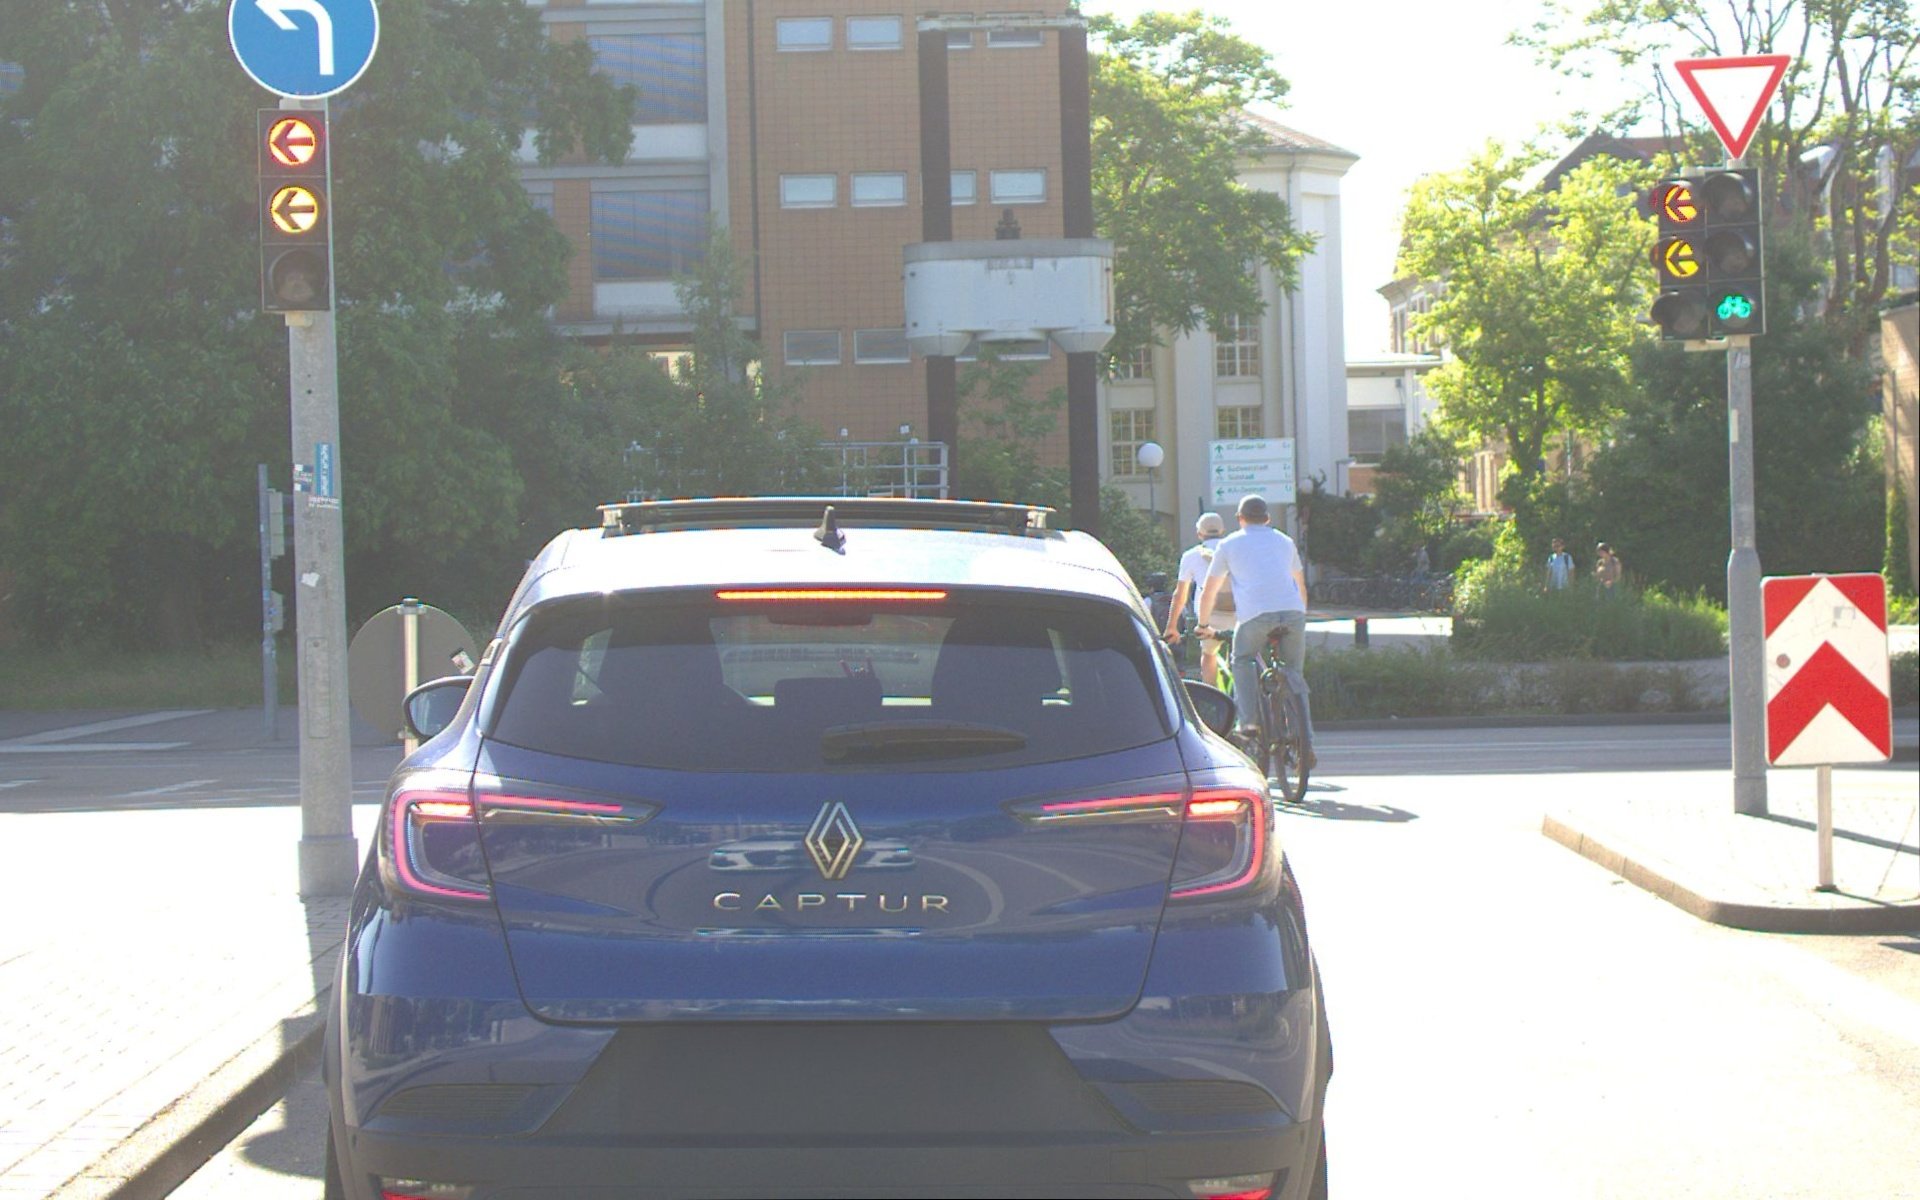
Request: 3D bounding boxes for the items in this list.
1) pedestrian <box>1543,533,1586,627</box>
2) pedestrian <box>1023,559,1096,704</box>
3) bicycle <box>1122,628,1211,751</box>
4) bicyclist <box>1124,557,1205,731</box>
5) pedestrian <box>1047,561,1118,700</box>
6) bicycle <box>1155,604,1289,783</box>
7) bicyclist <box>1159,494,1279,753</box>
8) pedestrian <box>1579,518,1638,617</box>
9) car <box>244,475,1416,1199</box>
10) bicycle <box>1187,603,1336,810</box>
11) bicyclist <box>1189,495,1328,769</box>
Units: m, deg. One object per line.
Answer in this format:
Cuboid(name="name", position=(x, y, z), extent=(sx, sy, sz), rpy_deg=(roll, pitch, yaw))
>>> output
Cuboid(name="pedestrian", position=(10.650, -0.360, 60.562), extent=(0.676, 1.637, 0.735), rpy_deg=(1, 0, 15))
Cuboid(name="pedestrian", position=(1.268, 0.395, 43.675), extent=(0.734, 1.810, 0.731), rpy_deg=(1, 0, 17))
Cuboid(name="bicycle", position=(2.082, 0.887, 34.836), extent=(0.746, 1.161, 1.870), rpy_deg=(-1, 1, -1))
Cuboid(name="bicyclist", position=(2.075, 0.433, 34.910), extent=(0.719, 1.729, 0.978), rpy_deg=(-1, 1, -1))
Cuboid(name="pedestrian", position=(1.592, 0.393, 44.607), extent=(0.734, 1.776, 0.731), rpy_deg=(1, 0, 17))
Cuboid(name="bicycle", position=(1.811, 0.628, 23.970), extent=(0.746, 1.161, 1.870), rpy_deg=(-1, 1, -1))
Cuboid(name="bicyclist", position=(1.798, 0.155, 23.992), extent=(0.719, 1.756, 0.978), rpy_deg=(-1, 1, -1))
Cuboid(name="pedestrian", position=(10.725, -0.538, 56.870), extent=(0.677, 1.637, 0.734), rpy_deg=(1, 0, 37))
Cuboid(name="car", position=(-0.235, 0.596, 7.465), extent=(1.876, 1.612, 3.798), rpy_deg=(1, 1, -1))
Cuboid(name="bicycle", position=(1.812, 0.619, 20.883), extent=(0.716, 1.161, 1.870), rpy_deg=(-1, 1, 0))
Cuboid(name="bicyclist", position=(1.804, 0.182, 20.912), extent=(0.719, 1.611, 0.978), rpy_deg=(-1, 1, -1))
